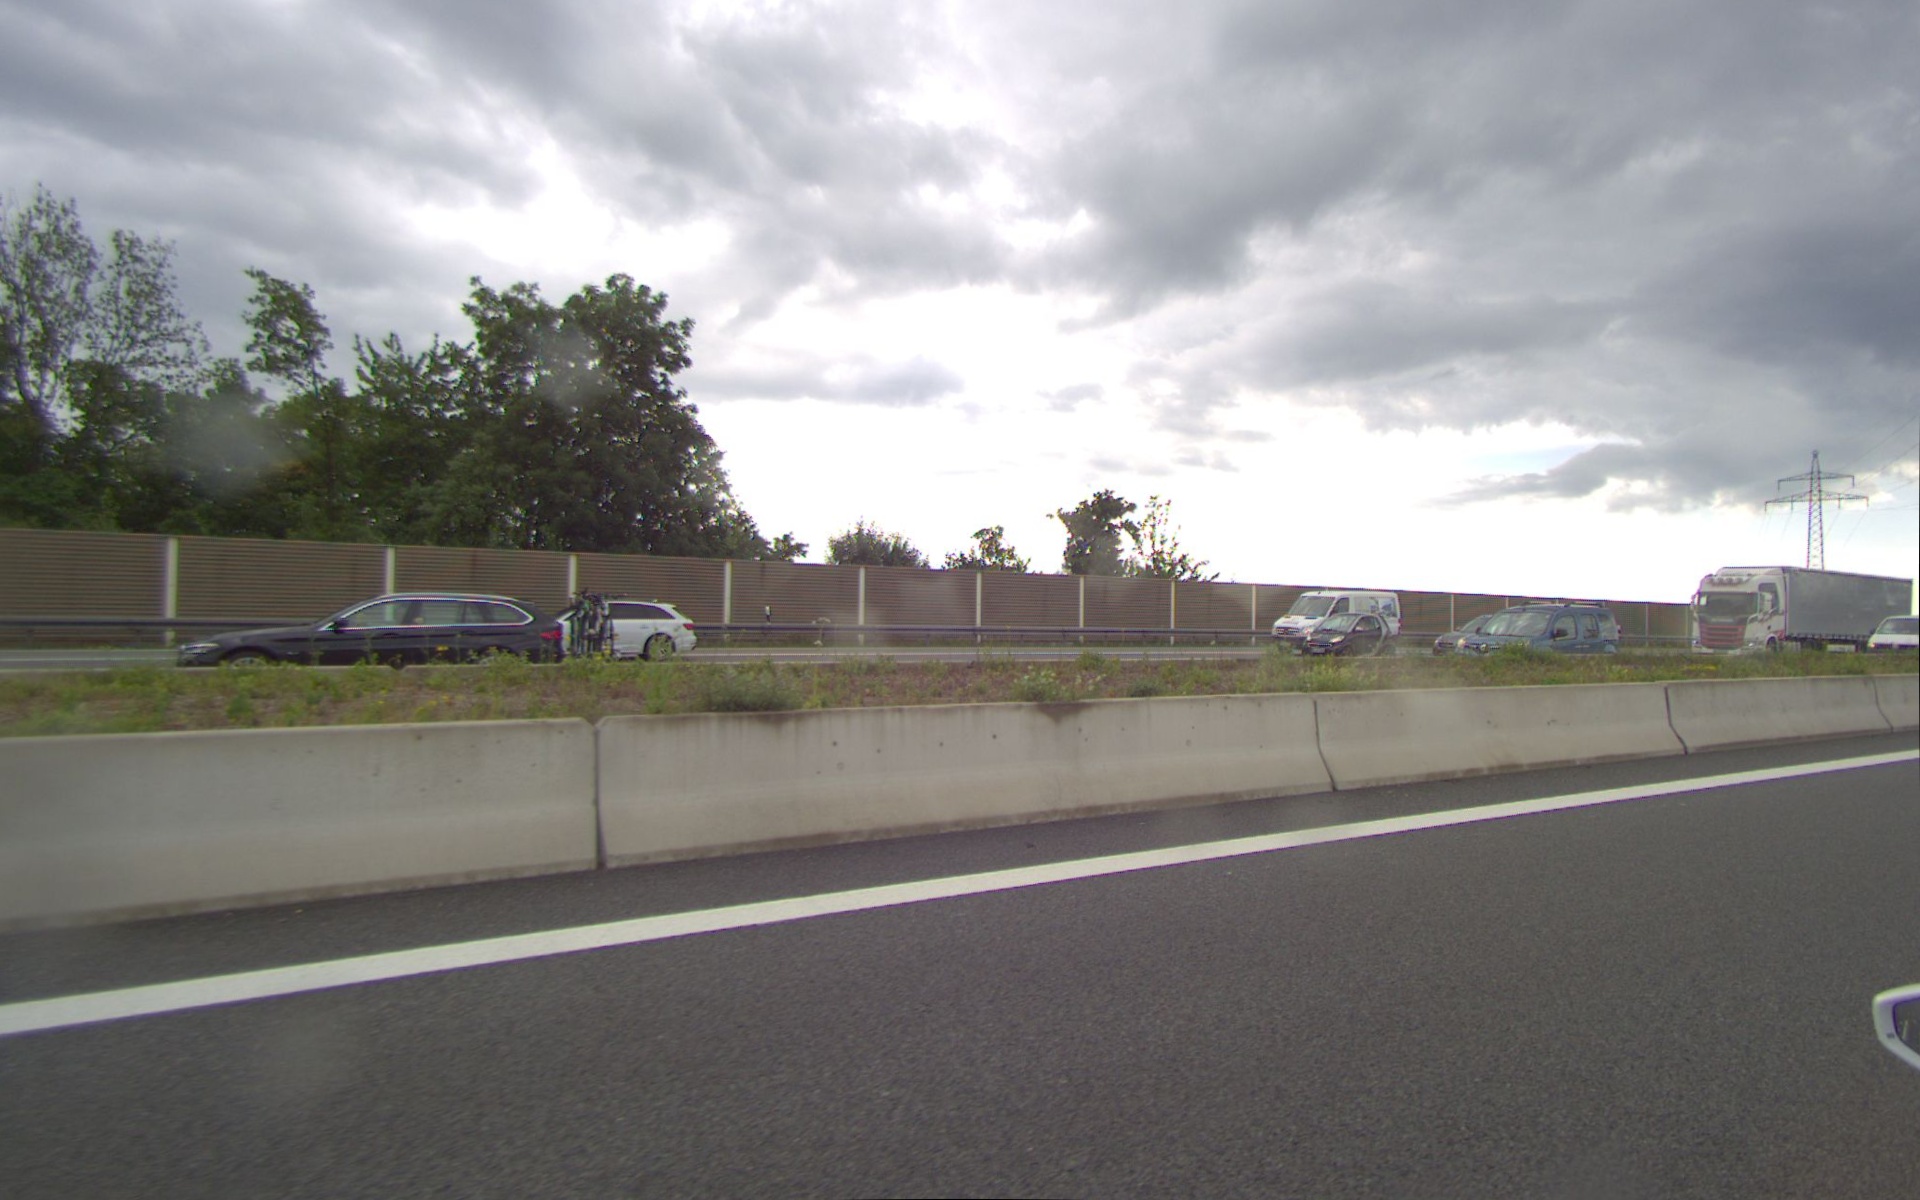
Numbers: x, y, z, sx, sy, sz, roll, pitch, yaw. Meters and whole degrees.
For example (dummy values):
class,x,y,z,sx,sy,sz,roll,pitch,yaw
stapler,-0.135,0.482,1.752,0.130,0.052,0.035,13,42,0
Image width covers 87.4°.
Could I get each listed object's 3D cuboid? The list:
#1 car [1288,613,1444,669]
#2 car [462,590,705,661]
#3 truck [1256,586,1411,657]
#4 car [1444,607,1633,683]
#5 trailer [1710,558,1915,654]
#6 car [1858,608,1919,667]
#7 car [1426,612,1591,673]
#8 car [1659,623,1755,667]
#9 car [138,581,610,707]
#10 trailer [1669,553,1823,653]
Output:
class,x,y,z,sx,sy,sz,roll,pitch,yaw
car,12.633,1.270,31.146,5.101,1.557,1.756,2,0,-31
car,-8.752,0.609,23.549,5.101,1.516,1.756,2,0,-31
truck,13.738,0.804,36.845,5.728,2.449,2.106,2,0,-30
car,13.205,1.008,22.870,4.431,1.557,1.756,2,0,-31
trailer,40.871,0.403,47.934,13.134,4.115,3.303,2,0,-31
car,33.780,1.321,35.245,5.101,1.925,1.913,2,0,-31
car,15.667,1.203,28.623,5.101,1.557,1.756,2,0,-31
car,40.837,2.470,54.860,5.731,2.223,2.105,2,0,-31
car,-8.257,0.615,14.750,5.647,1.569,1.756,2,0,-31
trailer,34.572,0.185,44.157,6.008,4.098,3.303,2,0,-31
